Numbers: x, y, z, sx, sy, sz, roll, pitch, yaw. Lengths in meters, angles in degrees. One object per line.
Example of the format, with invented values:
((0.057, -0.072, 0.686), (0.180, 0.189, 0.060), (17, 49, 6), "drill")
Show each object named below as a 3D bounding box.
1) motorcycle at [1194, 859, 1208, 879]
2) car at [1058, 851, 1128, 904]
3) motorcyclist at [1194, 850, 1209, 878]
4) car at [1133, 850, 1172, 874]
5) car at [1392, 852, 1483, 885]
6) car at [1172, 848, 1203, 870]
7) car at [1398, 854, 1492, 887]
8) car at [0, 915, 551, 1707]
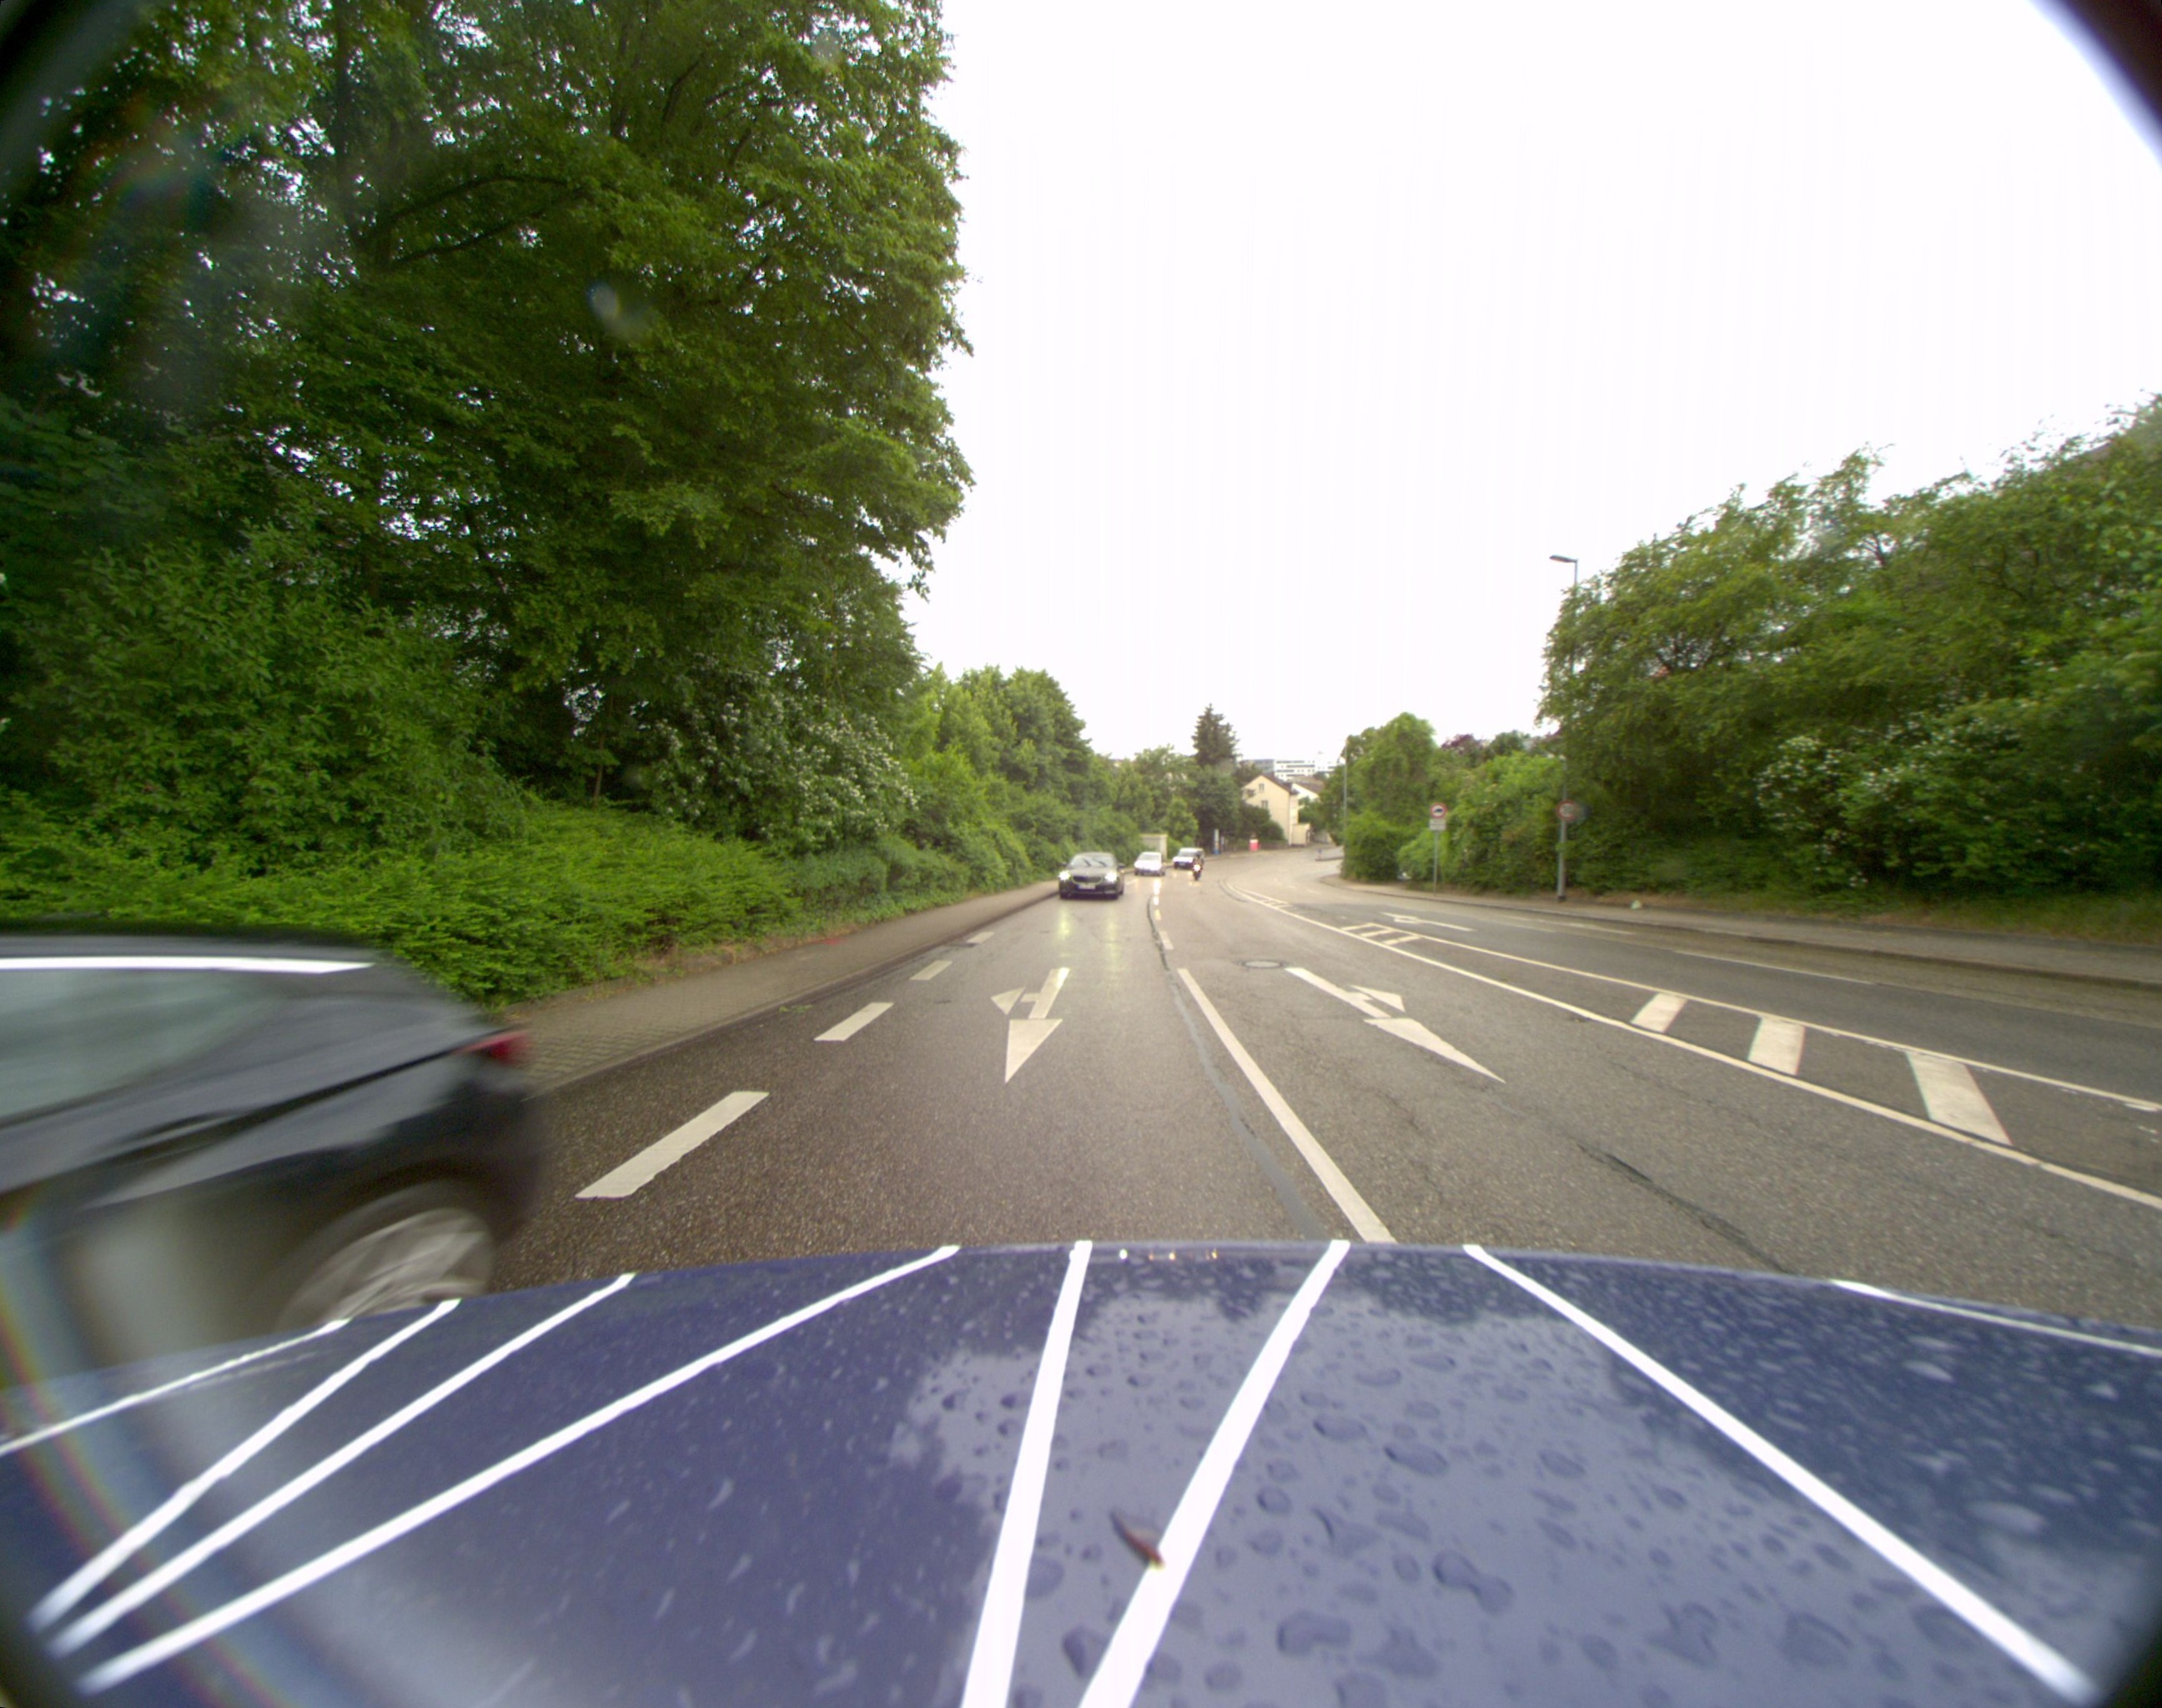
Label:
((7.143, 0.888, 45.148), (0.692, 1.047, 1.748), (3, 3, 12), "motorcycle")
((0.480, 0.692, 24.971), (1.871, 1.497, 4.199), (1, 1, 6), "car")
((7.152, 0.589, 45.177), (0.766, 1.633, 0.675), (3, 2, 12), "motorcyclist")
((4.753, 0.507, 50.265), (1.815, 1.431, 4.004), (4, 2, 15), "car")
((19.415, 0.765, 41.516), (3.995, 1.527, 2.001), (-4, 0, 8), "car")
((9.430, 0.443, 66.978), (1.774, 1.765, 4.006), (4, 2, 20), "car")
((18.520, 0.825, 38.806), (3.908, 1.432, 1.812), (-4, 0, 9), "car")
((-3.170, 1.008, 0.743), (1.814, 1.434, 4.166), (2, 1, 14), "car")
